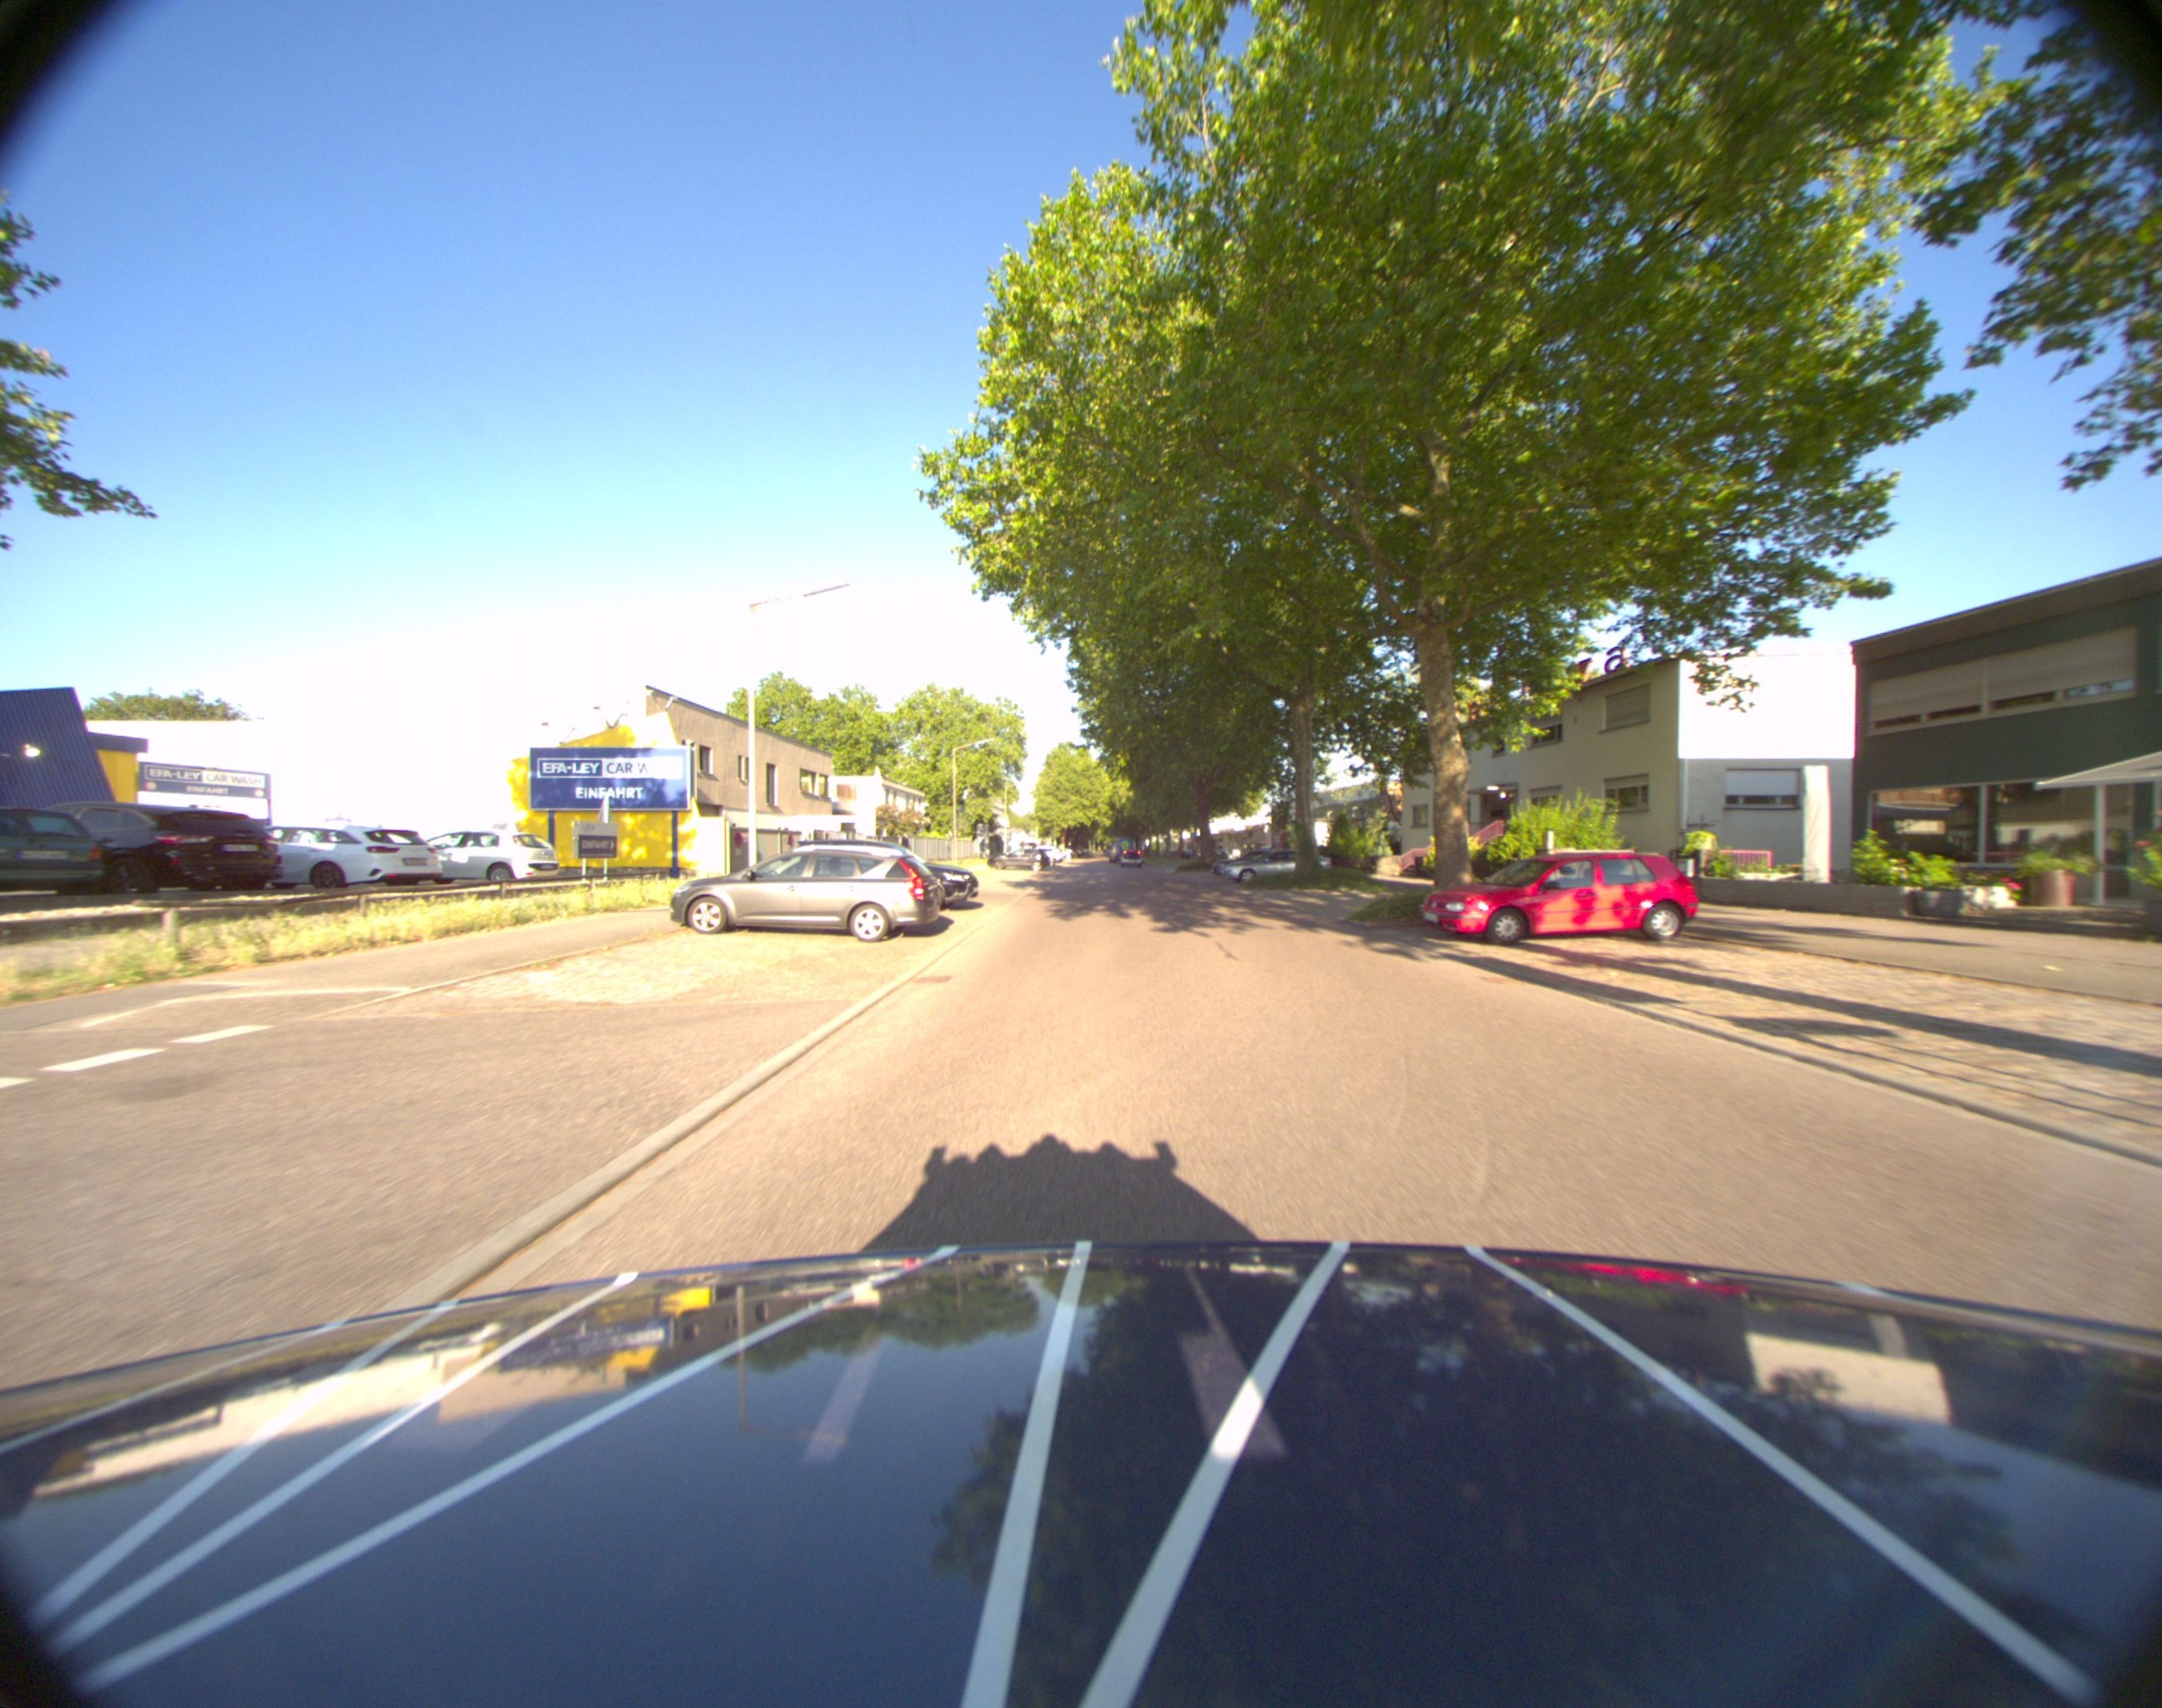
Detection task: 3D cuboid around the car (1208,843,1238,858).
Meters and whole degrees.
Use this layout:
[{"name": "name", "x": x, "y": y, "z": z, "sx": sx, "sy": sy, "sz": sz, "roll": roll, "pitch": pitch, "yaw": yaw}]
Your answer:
[{"name": "car", "x": 14.181, "y": -0.350, "z": 76.222, "sx": 1.999, "sy": 1.362, "sz": 3.918, "roll": 4, "pitch": 1, "yaw": -3}]

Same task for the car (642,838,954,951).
[{"name": "car", "x": -4.719, "y": 0.630, "z": 13.207, "sx": 4.612, "sy": 1.604, "sz": 1.999, "roll": 3, "pitch": 2, "yaw": 0}]

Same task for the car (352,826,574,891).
[{"name": "car", "x": -15.899, "y": 0.093, "z": 19.758, "sx": 3.998, "sy": 1.488, "sz": 1.999, "roll": -2, "pitch": 1, "yaw": -3}]

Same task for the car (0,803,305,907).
[{"name": "car", "x": -16.490, "y": 0.016, "z": 13.094, "sx": 3.998, "sy": 1.586, "sz": 1.999, "roll": -2, "pitch": 1, "yaw": -3}]

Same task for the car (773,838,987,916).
[{"name": "car", "x": -4.826, "y": 0.510, "z": 18.690, "sx": 4.611, "sy": 1.571, "sz": 2.000, "roll": 3, "pitch": 2, "yaw": 3}]

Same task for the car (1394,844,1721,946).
[{"name": "car", "x": 7.904, "y": 0.634, "z": 12.944, "sx": 4.307, "sy": 1.438, "sz": 1.999, "roll": -2, "pitch": 2, "yaw": 1}]

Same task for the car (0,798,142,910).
[{"name": "car", "x": -16.618, "y": 0.040, "z": 10.722, "sx": 3.998, "sy": 1.510, "sz": 1.999, "roll": -2, "pitch": 1, "yaw": -3}]

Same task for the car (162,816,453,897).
[{"name": "car", "x": -16.218, "y": 0.028, "z": 16.138, "sx": 3.998, "sy": 1.510, "sz": 1.952, "roll": -2, "pitch": 1, "yaw": -3}]

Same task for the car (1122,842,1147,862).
[{"name": "car", "x": 4.516, "y": -0.177, "z": 64.916, "sx": 1.843, "sy": 1.562, "sz": 3.801, "roll": 2, "pitch": 1, "yaw": 1}]

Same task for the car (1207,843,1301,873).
[{"name": "car", "x": 8.770, "y": 0.191, "z": 38.759, "sx": 4.365, "sy": 1.414, "sz": 1.999, "roll": 0, "pitch": 1, "yaw": -1}]

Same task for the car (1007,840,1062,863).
[{"name": "car", "x": -4.089, "y": -0.226, "z": 67.204, "sx": 4.636, "sy": 1.702, "sz": 1.999, "roll": 3, "pitch": 1, "yaw": -1}]

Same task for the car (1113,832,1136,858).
[{"name": "car", "x": 4.604, "y": -0.892, "z": 80.877, "sx": 2.133, "sy": 2.644, "sz": 7.001, "roll": 0, "pitch": 0, "yaw": 1}]

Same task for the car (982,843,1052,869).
[{"name": "car", "x": -4.449, "y": 0.125, "z": 53.412, "sx": 4.636, "sy": 1.518, "sz": 1.999, "roll": 3, "pitch": 1, "yaw": -1}]

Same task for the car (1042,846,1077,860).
[{"name": "car", "x": -2.855, "y": -0.145, "z": 101.515, "sx": 4.582, "sy": 1.706, "sz": 1.942, "roll": 3, "pitch": 1, "yaw": -2}]

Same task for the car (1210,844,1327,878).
[{"name": "car", "x": 8.076, "y": 0.291, "z": 32.998, "sx": 4.611, "sy": 1.414, "sz": 2.000, "roll": 0, "pitch": 0, "yaw": 0}]

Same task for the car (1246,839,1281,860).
[{"name": "car", "x": 14.608, "y": -0.367, "z": 61.016, "sx": 1.998, "sy": 1.567, "sz": 4.273, "roll": -1, "pitch": 1, "yaw": 3}]
